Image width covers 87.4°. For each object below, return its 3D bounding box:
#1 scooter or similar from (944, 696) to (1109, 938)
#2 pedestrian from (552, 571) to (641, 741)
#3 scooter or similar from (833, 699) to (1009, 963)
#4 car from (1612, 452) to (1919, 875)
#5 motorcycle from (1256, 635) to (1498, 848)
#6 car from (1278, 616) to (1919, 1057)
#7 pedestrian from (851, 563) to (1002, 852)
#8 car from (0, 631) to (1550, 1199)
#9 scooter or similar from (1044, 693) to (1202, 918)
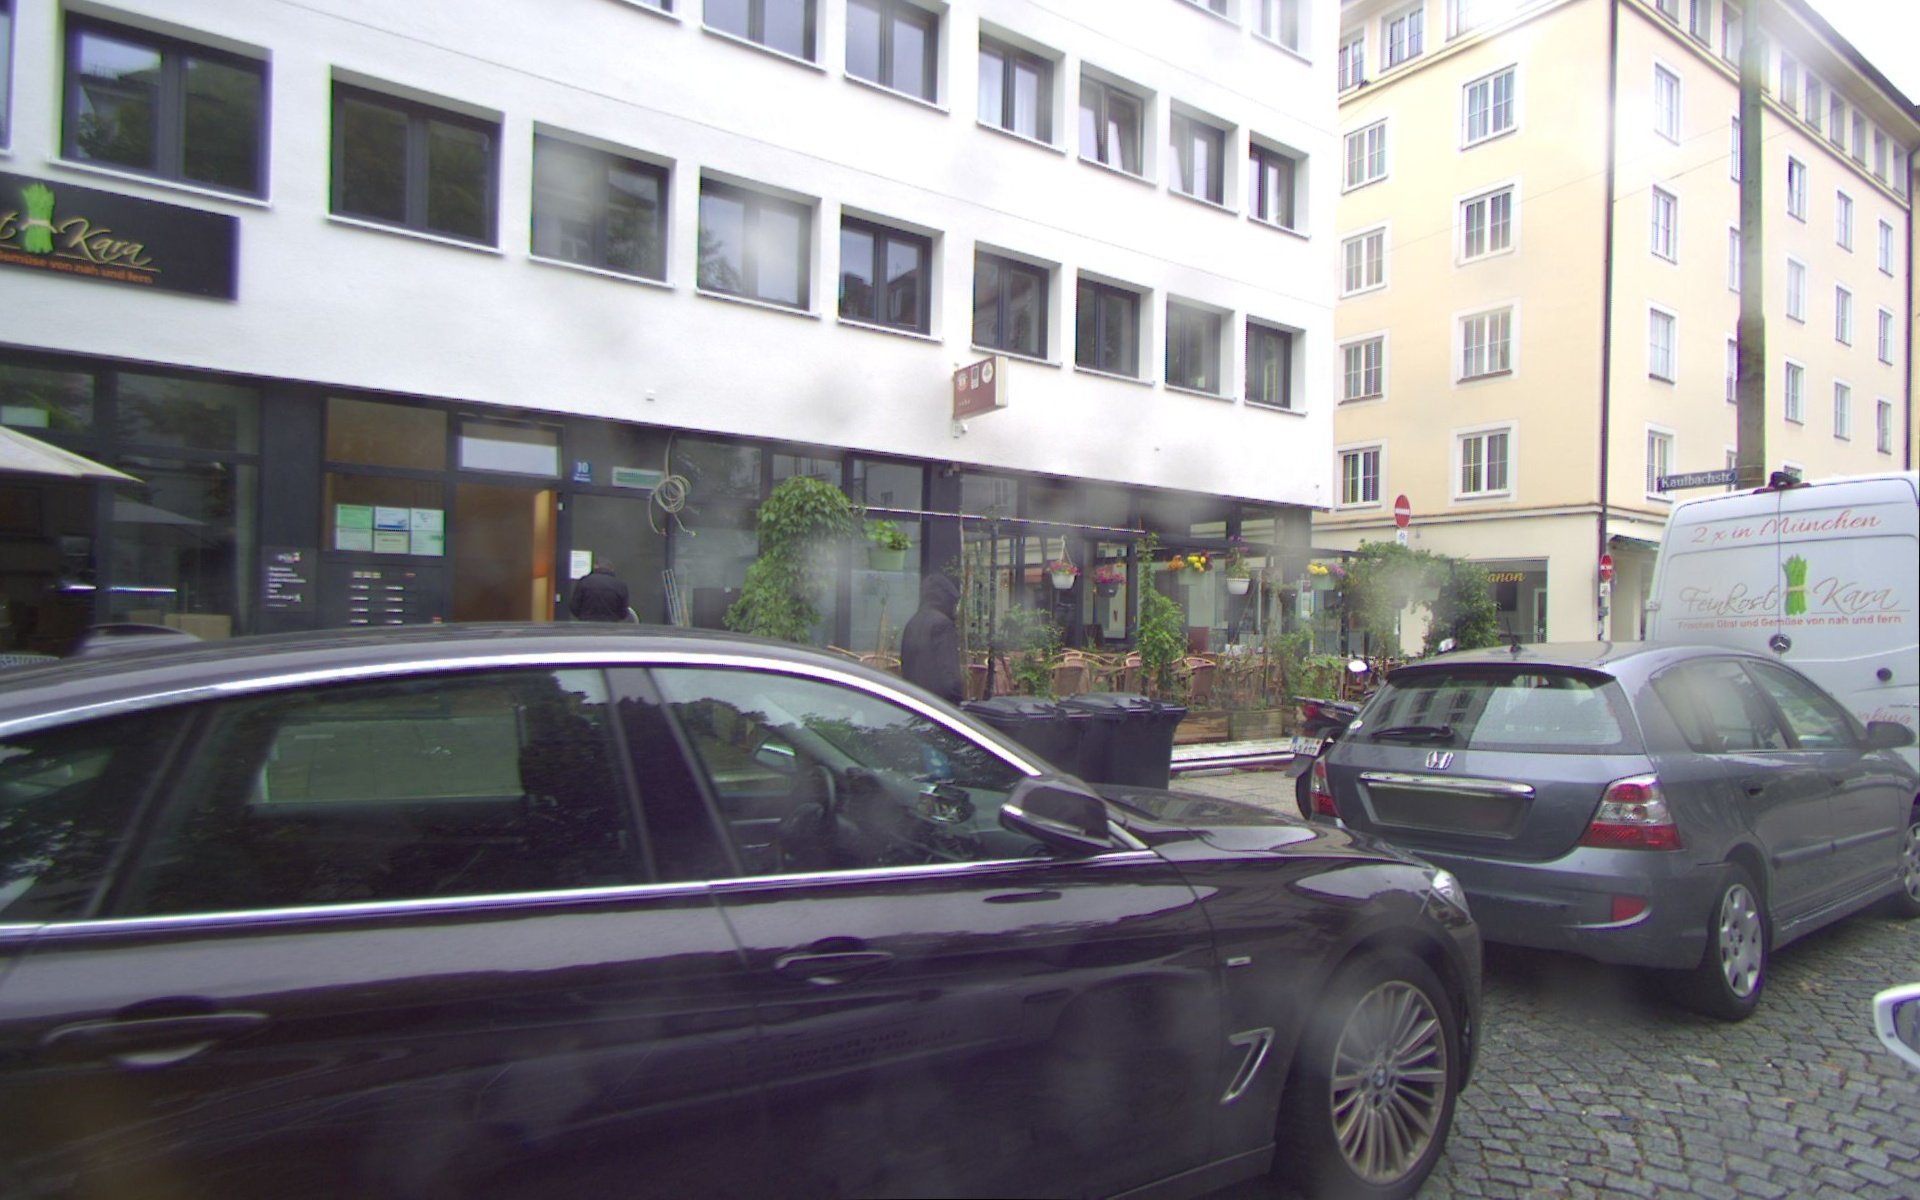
[{"bbox_3d":[0.345,1.090,5.288,0.620,1.107,0.603,2,-1,-34],"label":"scooter or similar"},{"bbox_3d":[-3.747,0.546,10.358,0.774,1.683,0.552,-1,2,-30],"label":"pedestrian"},{"bbox_3d":[-0.196,1.070,4.896,0.619,1.107,0.603,2,-1,-34],"label":"scooter or similar"},{"bbox_3d":[7.987,0.501,8.345,5.727,2.607,1.968,2,-3,-31],"label":"car"},{"bbox_3d":[3.151,0.973,7.497,2.038,1.387,0.670,2,-1,-35],"label":"motorcycle"},{"bbox_3d":[3.598,0.874,5.256,3.942,1.502,1.651,2,-2,-35],"label":"car"},{"bbox_3d":[-0.229,0.715,6.997,0.807,1.864,0.608,3,-2,-39],"label":"pedestrian"},{"bbox_3d":[-0.626,0.848,2.477,4.423,1.483,1.717,1,-4,-32],"label":"car"},{"bbox_3d":[0.912,1.107,5.652,0.621,1.107,0.603,2,-1,-34],"label":"scooter or similar"}]
